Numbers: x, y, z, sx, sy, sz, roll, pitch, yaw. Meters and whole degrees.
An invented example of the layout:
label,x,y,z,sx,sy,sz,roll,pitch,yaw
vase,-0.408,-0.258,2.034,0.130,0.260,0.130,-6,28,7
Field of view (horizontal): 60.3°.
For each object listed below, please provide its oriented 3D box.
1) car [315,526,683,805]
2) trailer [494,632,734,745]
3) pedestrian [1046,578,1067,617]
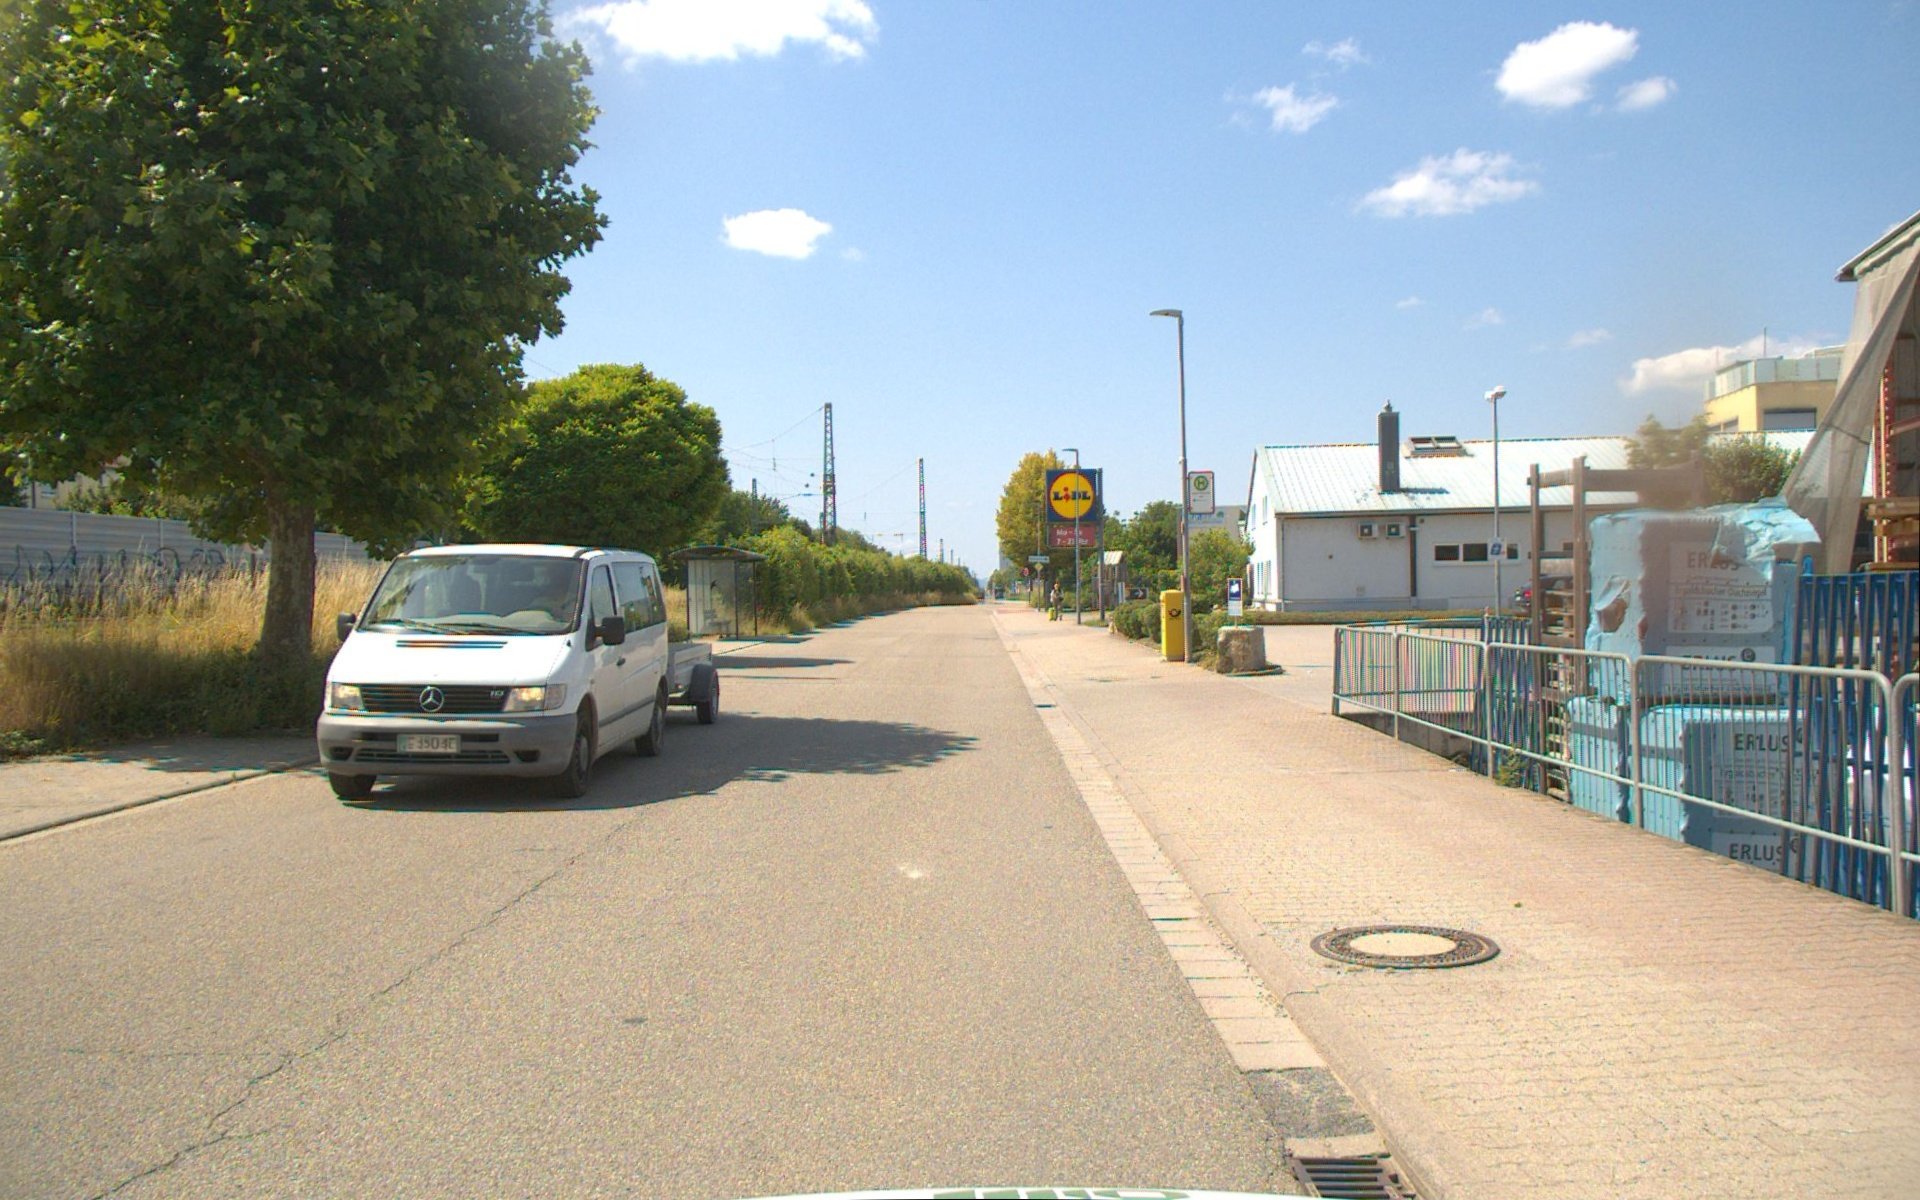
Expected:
label,x,y,z,sx,sy,sz,roll,pitch,yaw
car,-3.519,0.434,13.524,1.801,1.890,4.483,0,0,-1
trailer,-3.588,0.885,17.896,1.782,0.865,4.221,-2,1,-2
pedestrian,4.149,-0.107,70.976,0.746,1.630,1.210,-1,0,-2
